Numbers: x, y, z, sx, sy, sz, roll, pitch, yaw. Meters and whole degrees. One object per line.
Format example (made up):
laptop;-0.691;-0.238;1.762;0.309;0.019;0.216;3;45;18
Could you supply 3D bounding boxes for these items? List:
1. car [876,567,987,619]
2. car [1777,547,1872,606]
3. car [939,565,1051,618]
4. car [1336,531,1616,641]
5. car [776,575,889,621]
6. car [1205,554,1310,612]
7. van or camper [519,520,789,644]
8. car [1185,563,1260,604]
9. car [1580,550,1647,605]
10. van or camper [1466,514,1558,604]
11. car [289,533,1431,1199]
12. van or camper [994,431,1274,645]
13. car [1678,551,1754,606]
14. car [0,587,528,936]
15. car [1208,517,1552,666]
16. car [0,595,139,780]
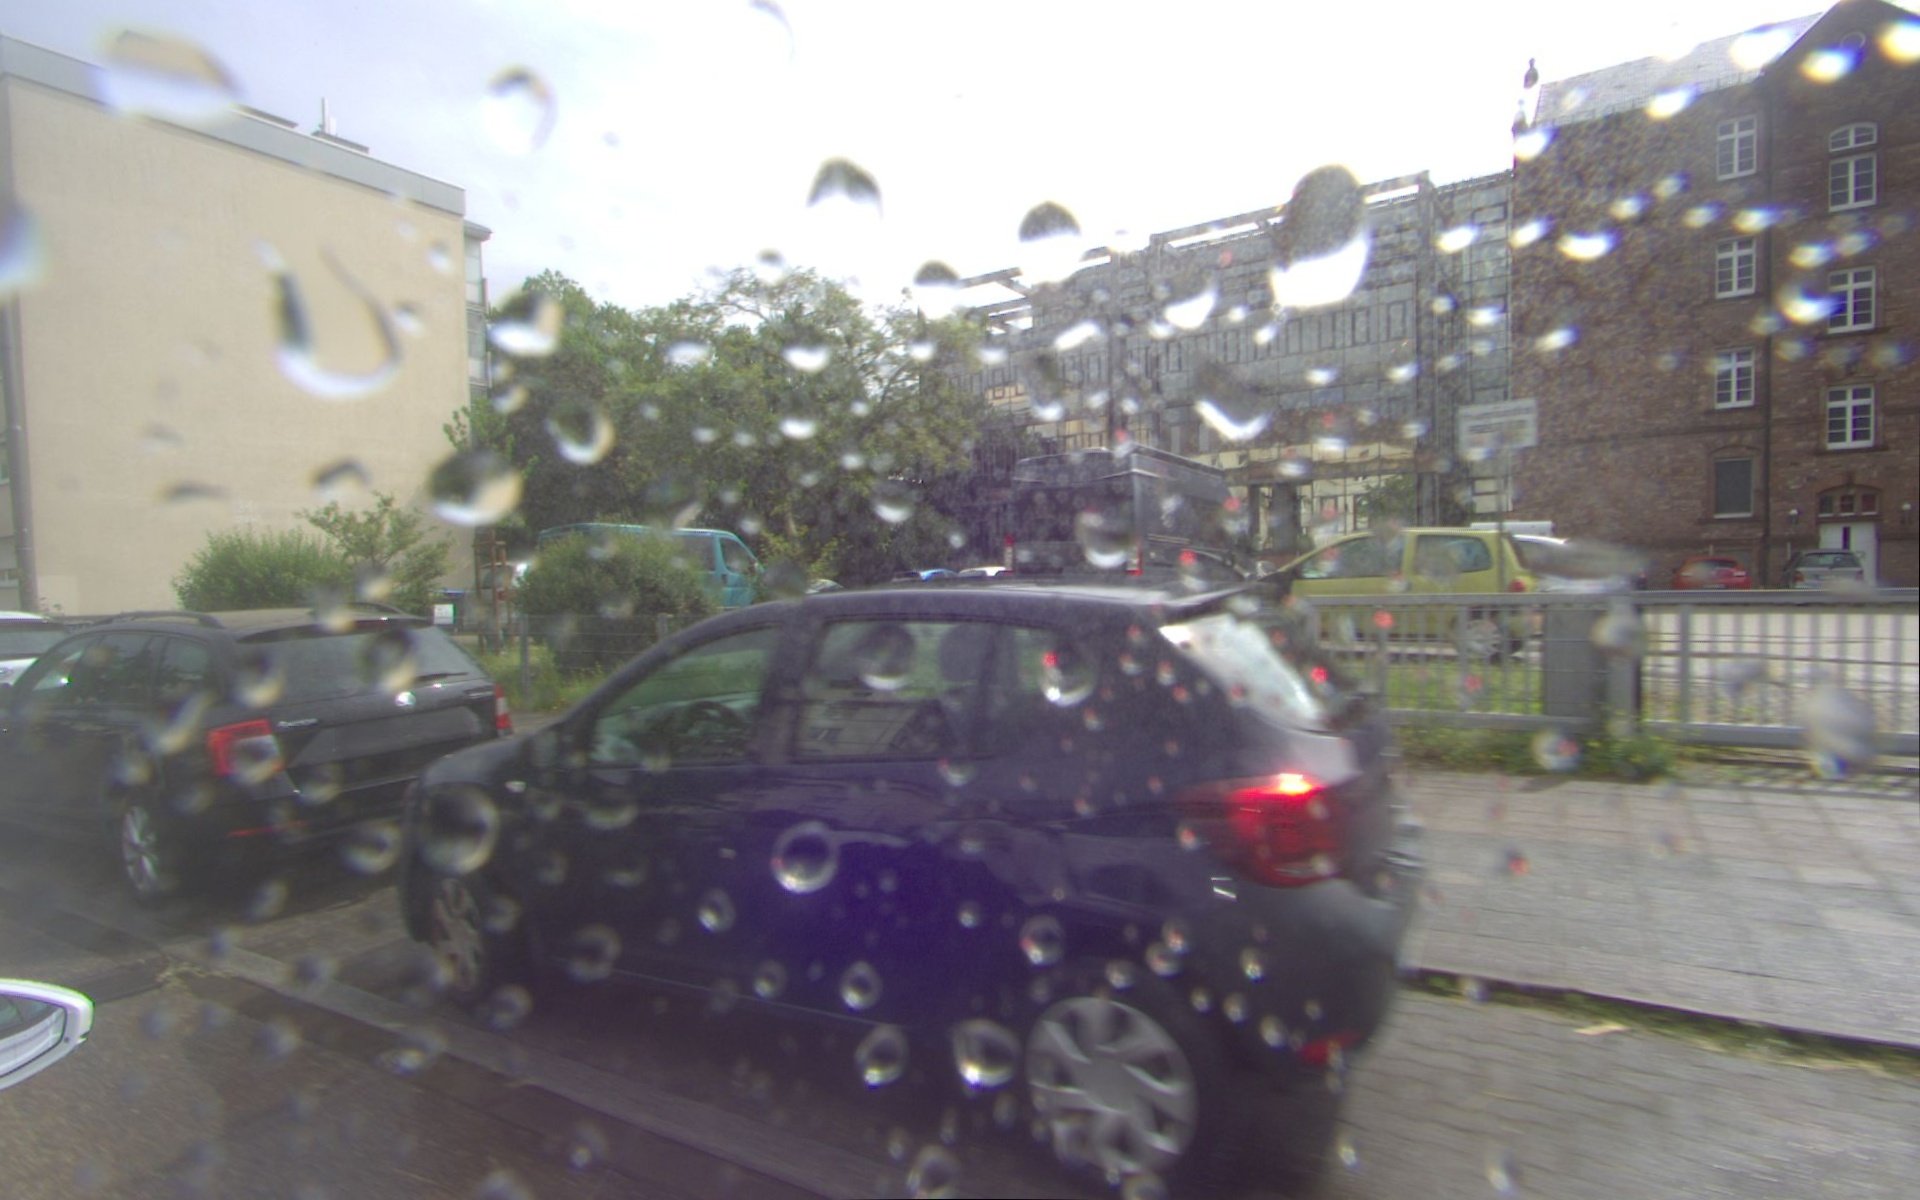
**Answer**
car;-0.847;-0.258;31.812;1.618;1.507;3.652;0;2;36
car;24.540;-0.693;28.545;1.650;1.545;3.654;0;2;35
car;1.131;-0.286;30.731;1.618;1.507;3.652;0;2;36
car;7.945;-0.204;15.525;3.670;1.506;1.642;-1;2;37
car;-4.483;-0.102;35.691;1.618;1.507;4.084;0;2;36
car;8.359;-0.496;27.913;1.650;1.485;3.960;0;2;35
van or camper;-5.986;-0.365;20.120;2.291;2.160;4.741;0;2;37
car;10.176;-0.648;38.606;1.650;1.506;3.655;0;1;35
car;20.441;-0.720;31.254;1.650;1.598;3.654;0;2;35
van or camper;17.614;-1.191;31.847;2.226;2.518;4.776;-1;-1;33
car;-0.459;0.643;3.762;3.939;1.548;1.754;-1;2;29
van or camper;2.771;-0.768;14.782;2.146;2.588;4.983;-1;0;34
car;22.338;-0.613;29.694;1.650;1.506;3.655;0;1;35
car;-4.771;0.779;6.323;4.100;1.529;1.600;-1;3;31
car;4.771;-0.095;11.507;3.372;1.468;1.604;-1;2;36
car;-9.738;0.833;9.427;4.052;1.528;1.746;-3;0;30
